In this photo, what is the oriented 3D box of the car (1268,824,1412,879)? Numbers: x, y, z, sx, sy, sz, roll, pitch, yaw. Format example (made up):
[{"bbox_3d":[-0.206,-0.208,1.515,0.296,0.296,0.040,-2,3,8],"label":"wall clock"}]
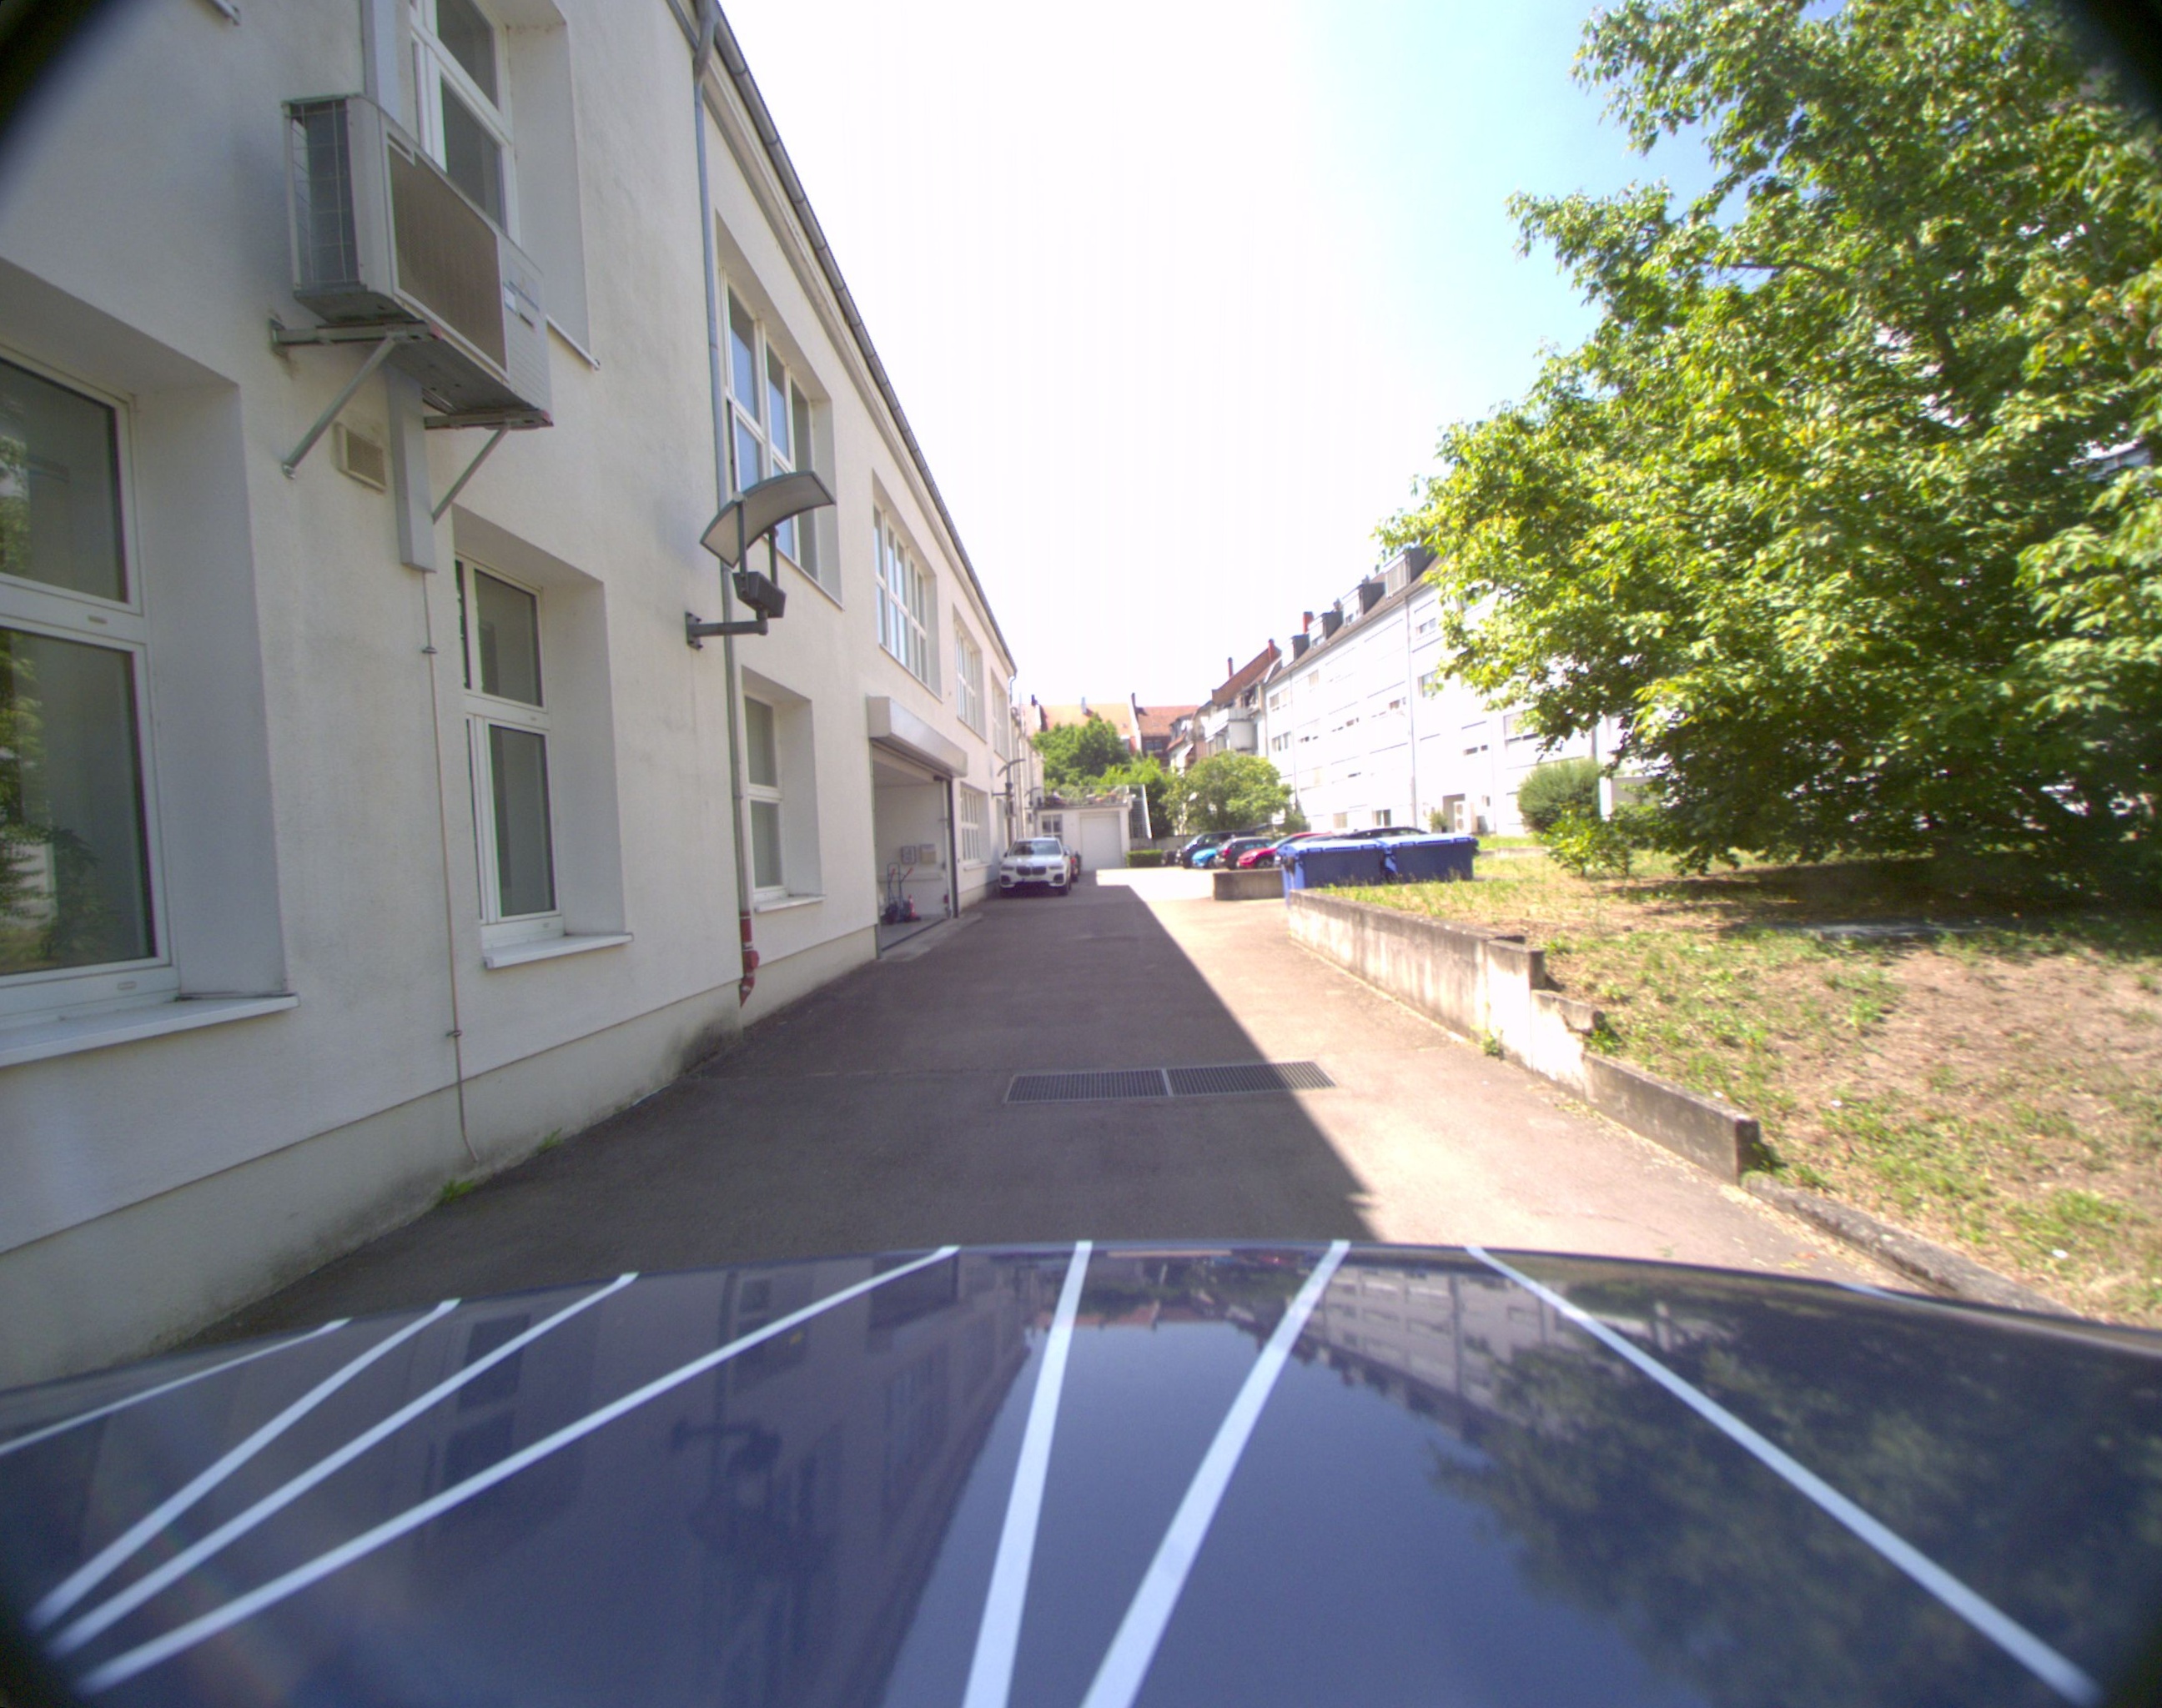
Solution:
[{"bbox_3d":[8.548,-0.104,25.254,4.223,1.560,1.612,-3,2,-4],"label":"car"}]

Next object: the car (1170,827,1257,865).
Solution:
[{"bbox_3d":[7.134,-0.448,41.208,4.223,1.813,2.008,-3,2,-4],"label":"car"}]

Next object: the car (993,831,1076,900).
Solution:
[{"bbox_3d":[-1.301,0.254,23.378,2.011,1.793,4.726,-3,2,2],"label":"car"}]

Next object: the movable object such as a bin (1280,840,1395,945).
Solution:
[{"bbox_3d":[3.671,0.522,10.975,1.271,1.381,1.095,-3,2,2],"label":"movable object such as a bin"}]

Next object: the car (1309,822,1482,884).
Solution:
[{"bbox_3d":[9.260,-0.054,22.529,4.444,1.560,1.612,-3,2,-4],"label":"car"}]

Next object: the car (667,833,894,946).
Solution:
[{"bbox_3d":[-6.006,0.678,15.435,3.836,2.002,1.654,-3,2,5],"label":"car"}]

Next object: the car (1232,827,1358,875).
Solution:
[{"bbox_3d":[7.983,-0.146,28.575,4.223,1.560,1.612,-3,2,-4],"label":"car"}]

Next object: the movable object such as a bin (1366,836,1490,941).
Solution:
[{"bbox_3d":[4.968,0.459,10.961,1.271,1.381,1.095,-3,2,2],"label":"movable object such as a bin"}]

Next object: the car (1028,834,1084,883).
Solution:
[{"bbox_3d":[-0.971,0.117,32.174,2.011,1.793,4.726,-3,2,2],"label":"car"}]

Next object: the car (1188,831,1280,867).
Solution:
[{"bbox_3d":[7.679,-0.257,38.262,4.223,1.560,1.612,-3,2,-4],"label":"car"}]

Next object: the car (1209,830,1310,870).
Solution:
[{"bbox_3d":[8.206,-0.206,35.189,4.223,1.560,1.612,-3,2,-4],"label":"car"}]
